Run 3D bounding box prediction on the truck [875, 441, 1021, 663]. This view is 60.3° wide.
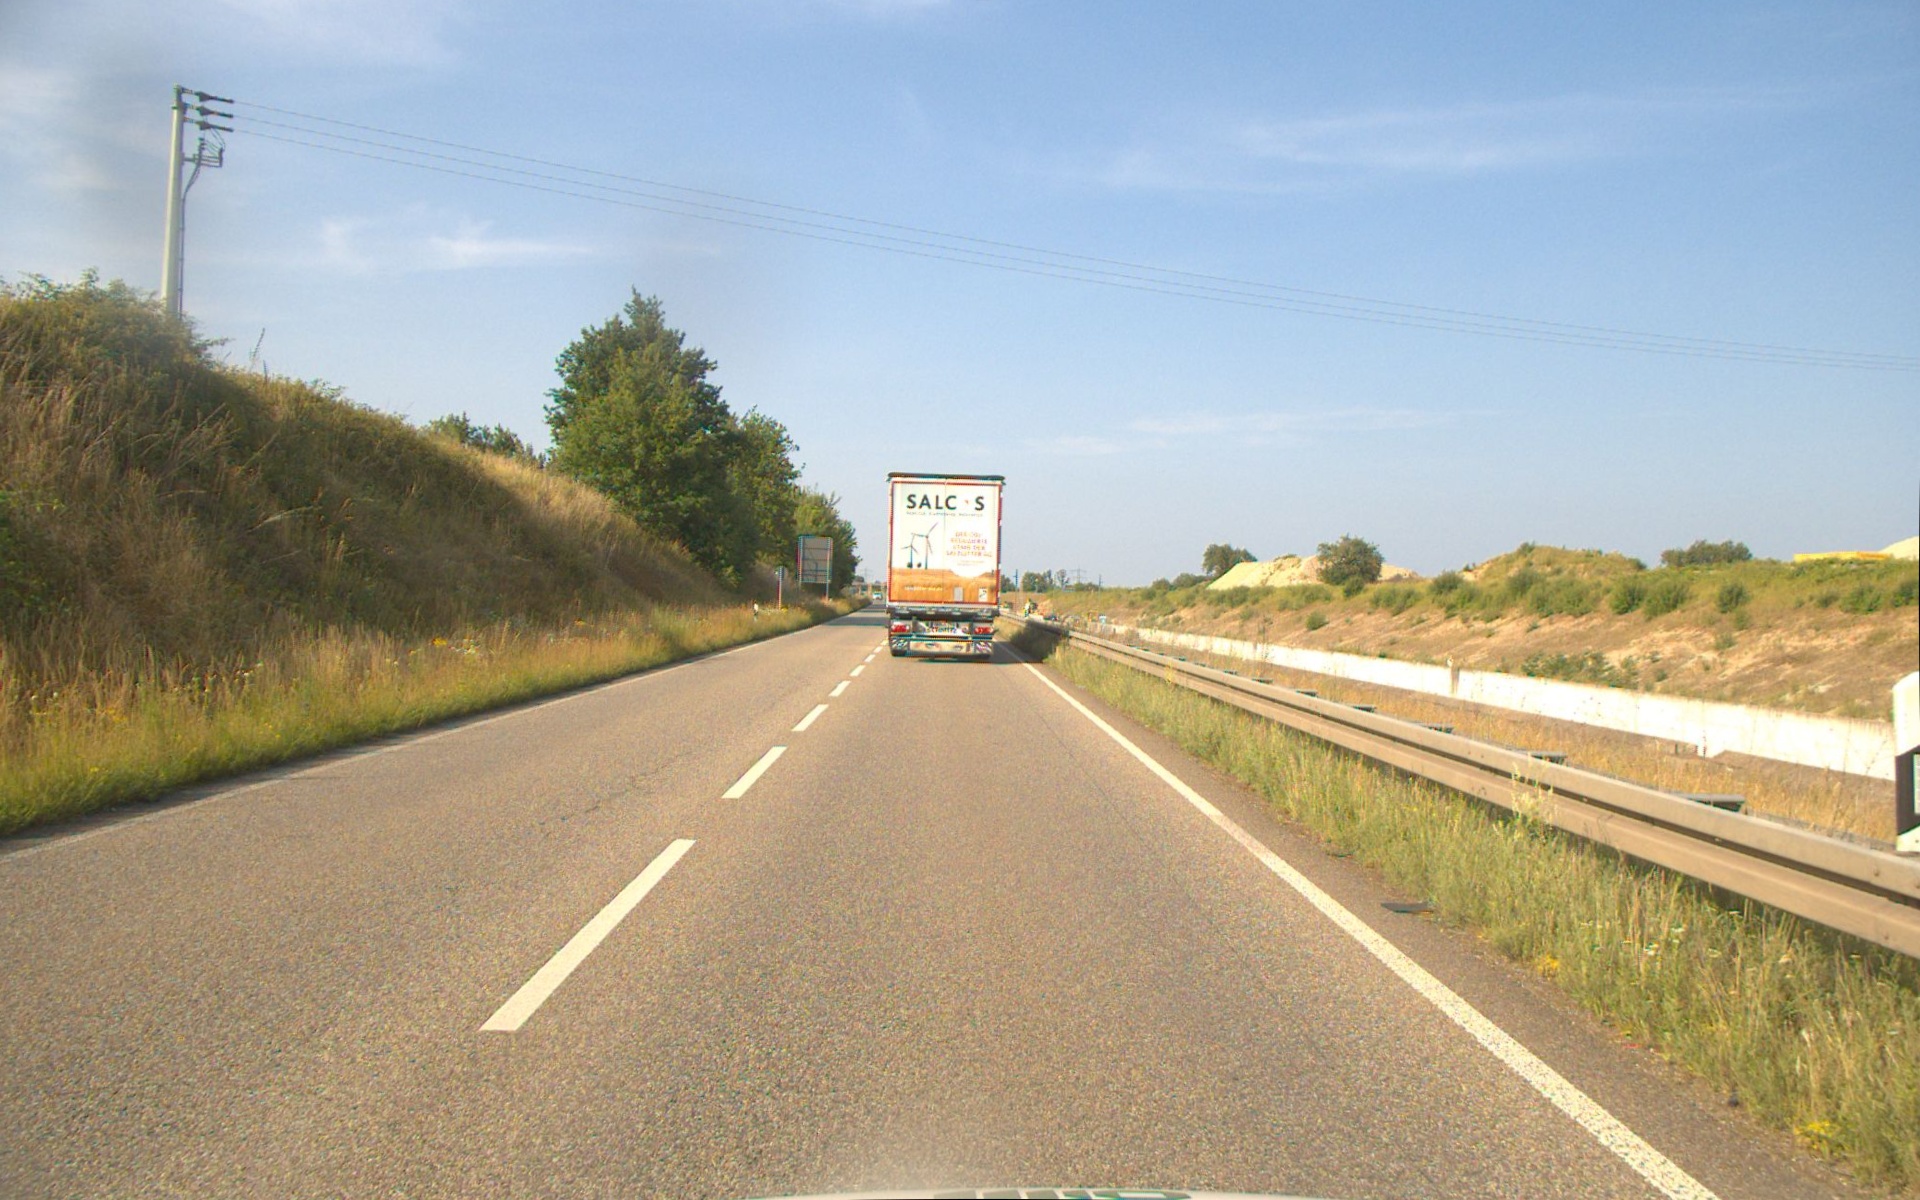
[{"bbox_3d":[-0.434,-1.049,40.305,3.090,4.770,8.437,1,0,-3],"label":"truck"}]
